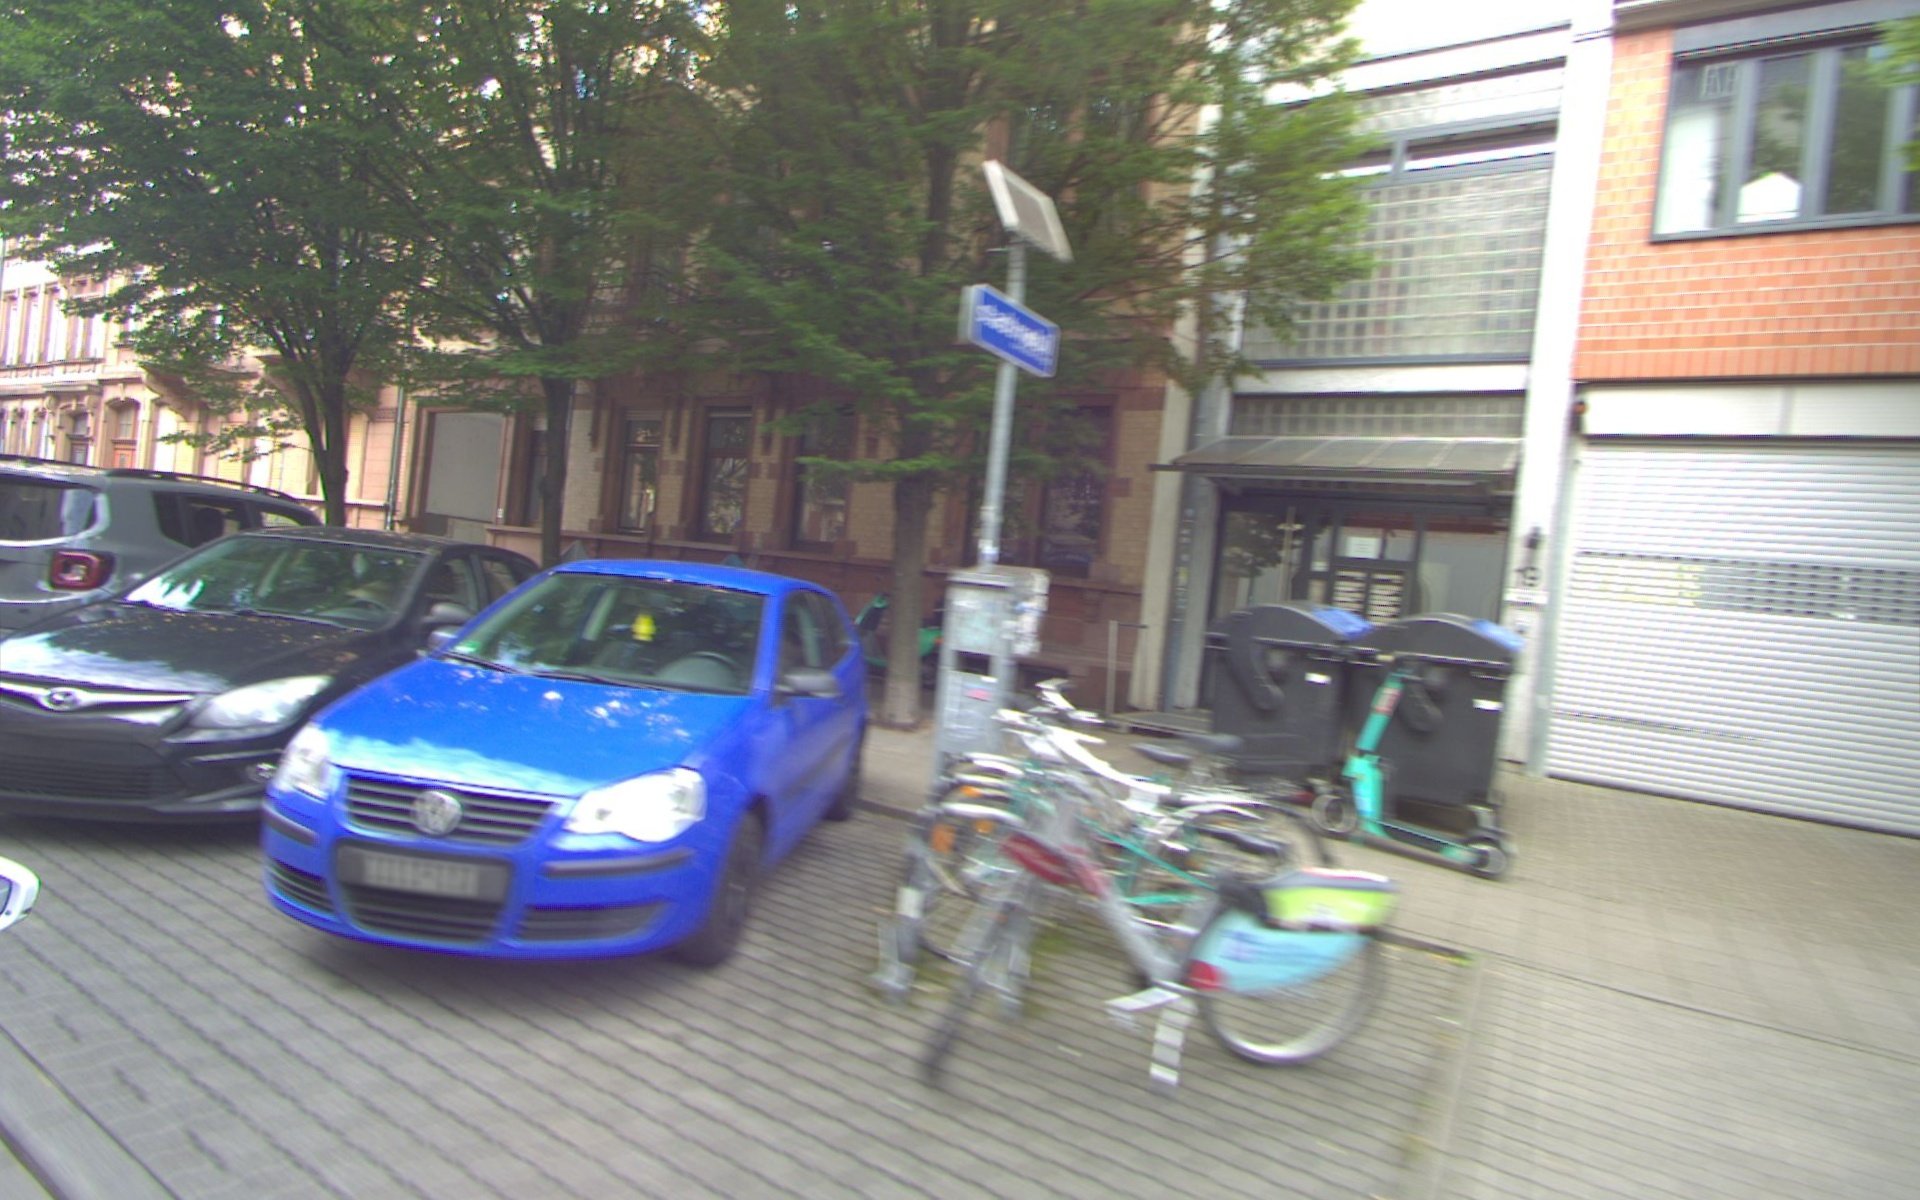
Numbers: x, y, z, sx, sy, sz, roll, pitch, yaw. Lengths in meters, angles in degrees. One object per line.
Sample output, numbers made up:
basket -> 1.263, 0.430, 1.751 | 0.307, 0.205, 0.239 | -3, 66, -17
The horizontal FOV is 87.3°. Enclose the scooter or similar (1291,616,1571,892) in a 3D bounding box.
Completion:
scooter or similar -> 2.813, 0.869, 6.092 | 0.521, 1.397, 1.305 | 7, 0, -44

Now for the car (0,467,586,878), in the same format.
car -> -3.853, 0.292, 6.052 | 1.812, 1.539, 4.124 | 6, -1, -5

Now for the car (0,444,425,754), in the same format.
car -> -6.075, -0.106, 7.695 | 1.819, 1.720, 3.997 | 7, 0, -3

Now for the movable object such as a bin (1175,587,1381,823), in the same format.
movable object such as a bin -> 2.486, 0.718, 7.789 | 1.144, 1.482, 1.370 | 7, 7, 29

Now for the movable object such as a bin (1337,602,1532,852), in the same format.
movable object such as a bin -> 3.421, 0.814, 7.208 | 1.020, 1.467, 1.370 | 7, 6, 29

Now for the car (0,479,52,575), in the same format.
car -> -15.753, -1.180, 14.486 | 1.853, 1.480, 3.994 | 5, 2, -4

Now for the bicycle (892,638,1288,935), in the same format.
bicycle -> 0.607, 0.874, 4.718 | 1.690, 1.227, 0.468 | 6, 0, -15

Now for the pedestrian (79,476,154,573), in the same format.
pedestrian -> -15.388, -1.373, 18.352 | 0.819, 1.655, 0.732 | 6, 2, 29

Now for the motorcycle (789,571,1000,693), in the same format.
motorcycle -> -0.841, 0.388, 12.570 | 2.449, 1.201, 0.895 | 6, -1, 31

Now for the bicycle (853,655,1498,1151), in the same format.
bicycle -> 0.601, 0.891, 3.137 | 1.719, 1.227, 0.701 | 7, 0, -8

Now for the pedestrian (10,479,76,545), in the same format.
pedestrian -> -23.137, -2.217, 25.393 | 0.798, 1.516, 0.929 | 7, 2, 25

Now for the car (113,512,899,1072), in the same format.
car -> -1.496, 0.528, 4.950 | 1.692, 1.457, 3.998 | 6, 1, 5

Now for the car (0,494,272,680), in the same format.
car -> -8.556, -0.204, 9.123 | 1.835, 1.435, 4.134 | 7, 0, -3

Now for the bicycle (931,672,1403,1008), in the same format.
bicycle -> 0.829, 0.942, 4.021 | 1.758, 1.167, 0.448 | 5, 0, -15

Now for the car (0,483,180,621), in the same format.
car -> -11.263, -0.604, 11.014 | 1.759, 1.471, 4.608 | 6, 1, 0
